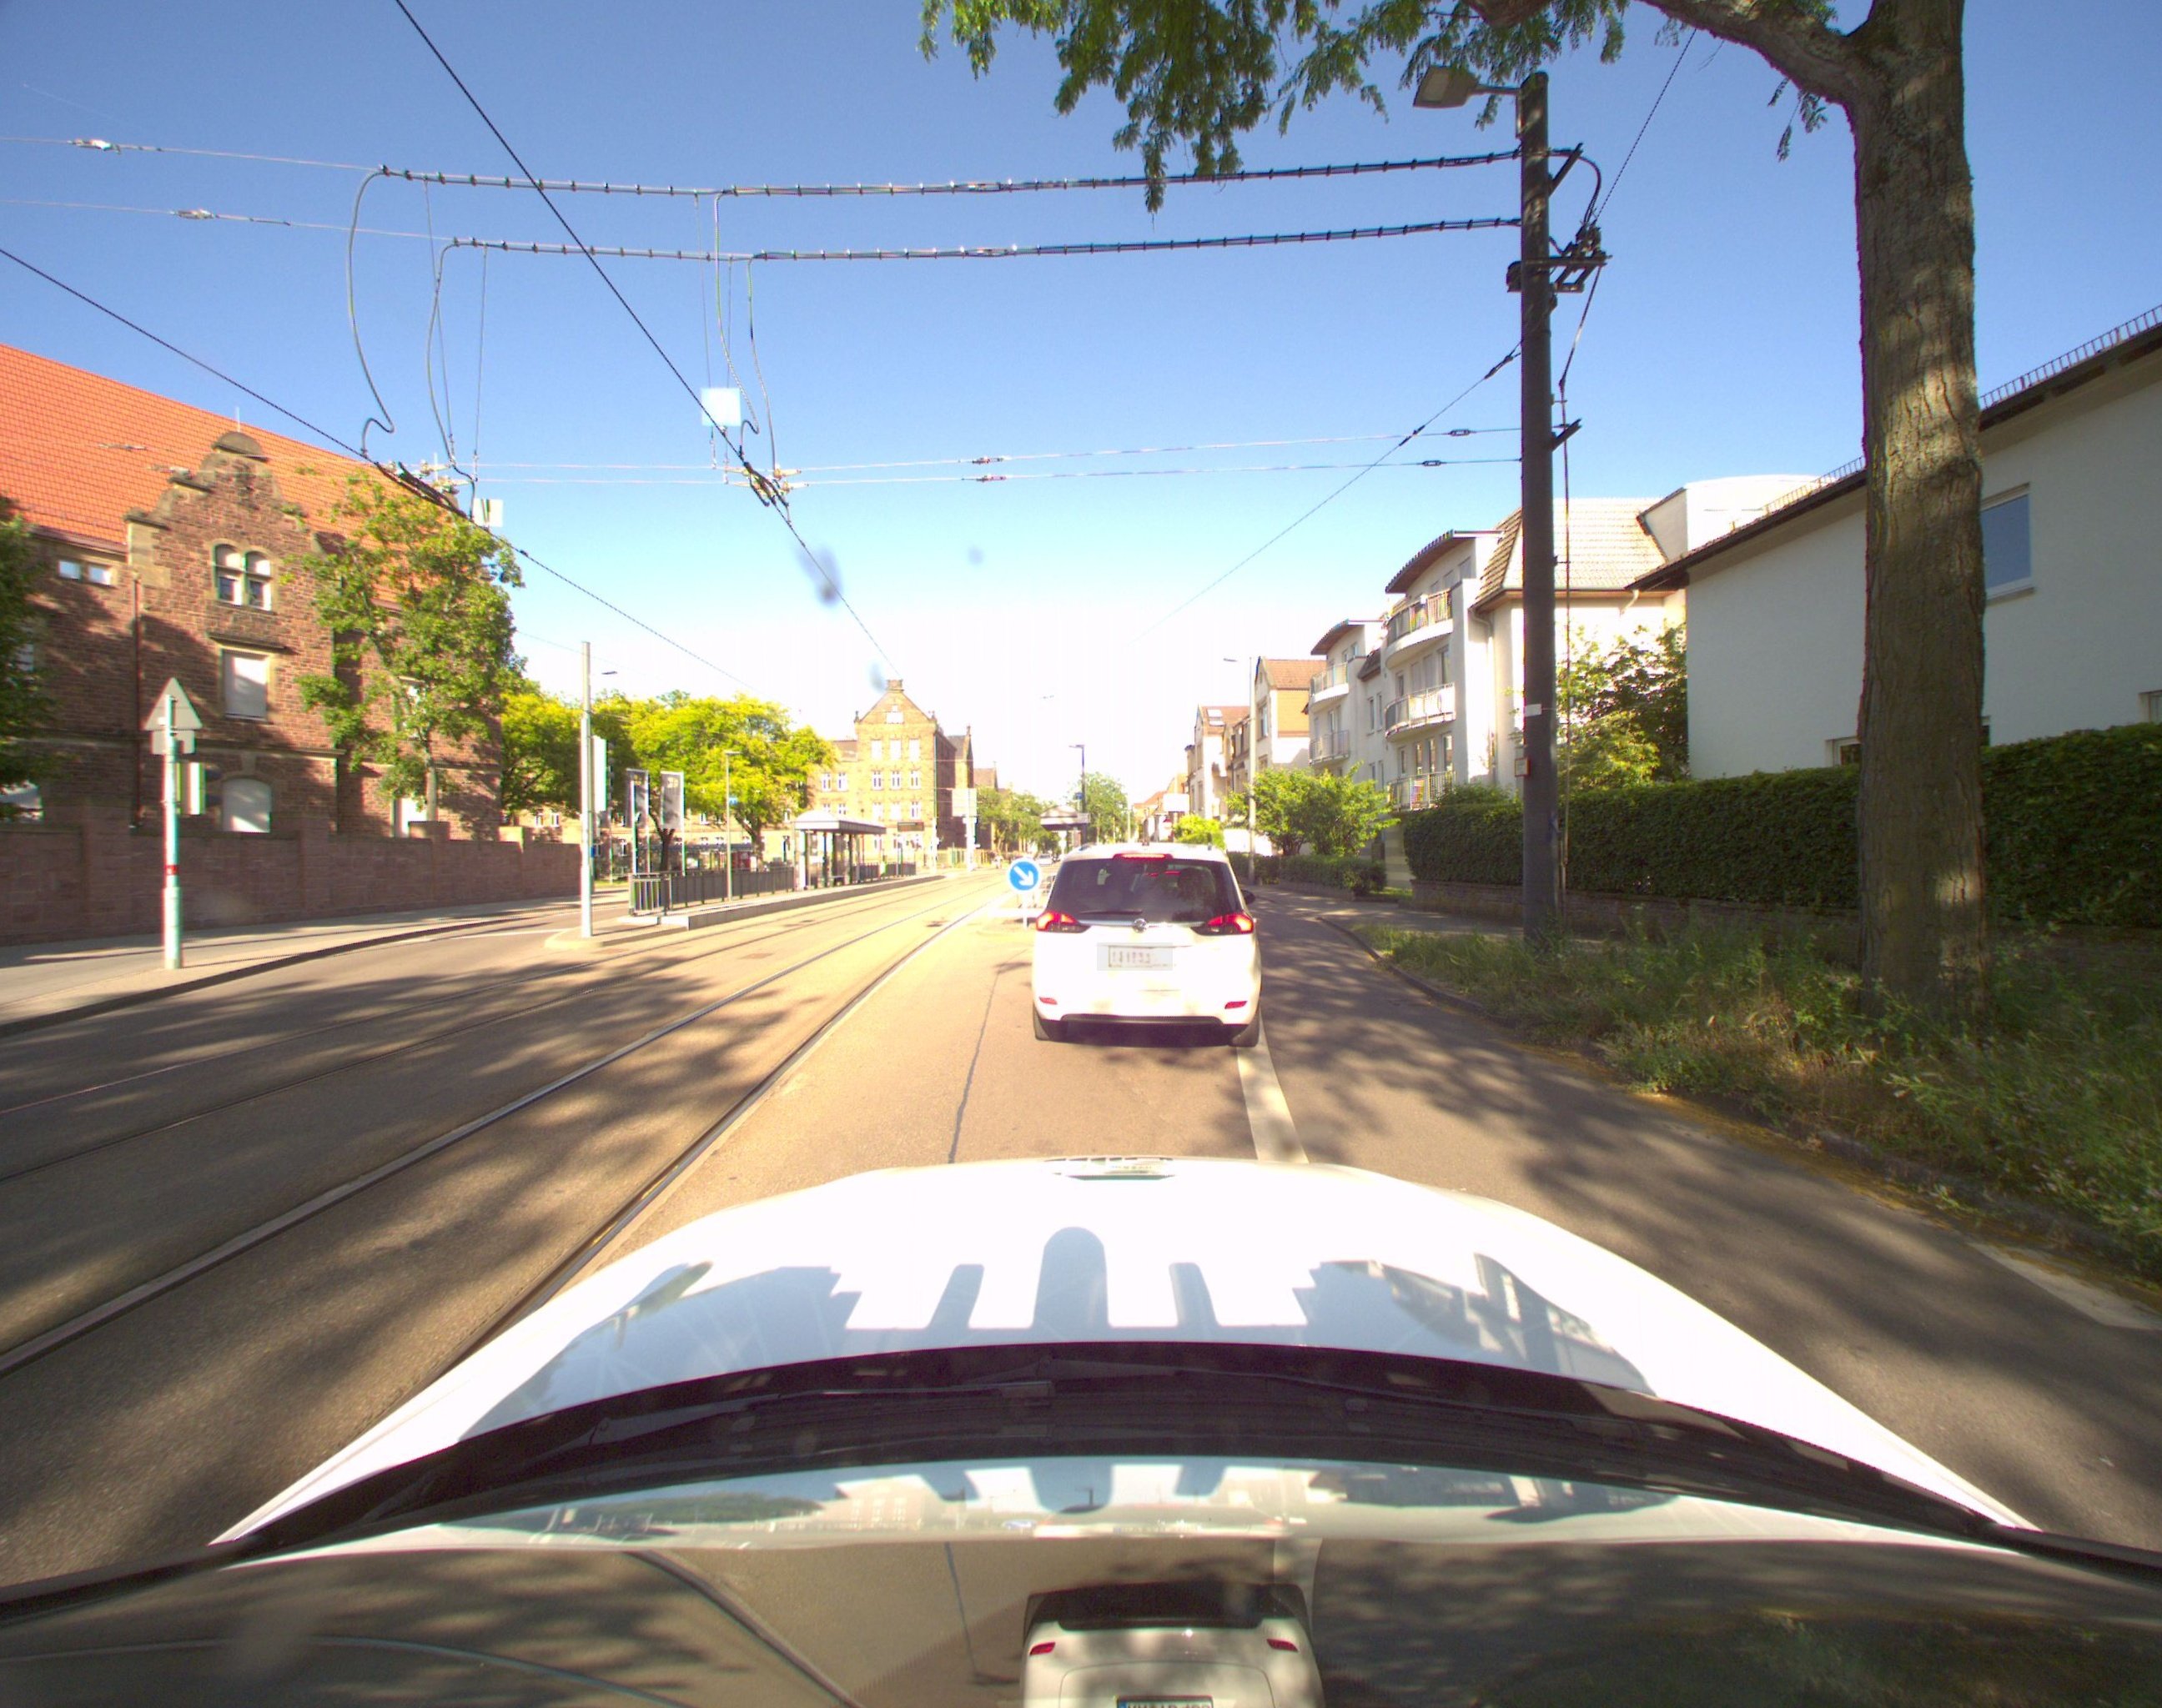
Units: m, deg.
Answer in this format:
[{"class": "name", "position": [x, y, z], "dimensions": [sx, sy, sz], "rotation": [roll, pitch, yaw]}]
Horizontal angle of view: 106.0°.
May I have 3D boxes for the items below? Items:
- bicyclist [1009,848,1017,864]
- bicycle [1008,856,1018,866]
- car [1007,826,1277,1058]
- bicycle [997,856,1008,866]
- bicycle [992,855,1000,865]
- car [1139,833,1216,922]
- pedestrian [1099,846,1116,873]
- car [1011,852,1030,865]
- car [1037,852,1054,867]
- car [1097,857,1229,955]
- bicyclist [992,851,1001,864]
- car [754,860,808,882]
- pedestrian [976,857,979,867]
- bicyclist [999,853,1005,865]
[{"class": "bicyclist", "position": [-8.814, 0.272, 105.969], "dimensions": [0.948, 2.014, 0.822], "rotation": [-1, 0, -4]}, {"class": "bicycle", "position": [-8.833, 0.893, 105.969], "dimensions": [1.145, 1.297, 2.859], "rotation": [-1, 0, -2]}, {"class": "car", "position": [0.695, 0.693, 7.875], "dimensions": [1.882, 1.611, 4.237], "rotation": [-1, -2, 8]}, {"class": "bicycle", "position": [-10.530, 0.908, 109.307], "dimensions": [1.145, 1.297, 2.859], "rotation": [-1, 0, -2]}, {"class": "bicycle", "position": [-10.742, 0.771, 103.130], "dimensions": [0.819, 1.297, 2.676], "rotation": [-1, 0, -2]}, {"class": "car", "position": [2.526, 0.543, 20.646], "dimensions": [1.699, 2.013, 3.917], "rotation": [-2, 0, 9]}, {"class": "pedestrian", "position": [2.013, 0.447, 62.213], "dimensions": [1.154, 2.013, 1.117], "rotation": [-1, 0, -7]}, {"class": "car", "position": [-8.472, 0.583, 114.208], "dimensions": [1.984, 1.722, 4.005], "rotation": [-1, 0, 4]}, {"class": "car", "position": [-4.647, 0.687, 107.634], "dimensions": [1.987, 1.913, 4.000], "rotation": [-1, -1, 1]}, {"class": "car", "position": [1.580, 0.814, 14.521], "dimensions": [1.982, 1.442, 4.010], "rotation": [-2, 0, 9]}, {"class": "bicyclist", "position": [-10.739, 0.445, 103.420], "dimensions": [0.941, 1.734, 0.861], "rotation": [-1, 0, -1]}, {"class": "car", "position": [-26.137, 1.478, 71.037], "dimensions": [3.980, 1.789, 1.997], "rotation": [-1, 0, -5]}, {"class": "pedestrian", "position": [-14.555, 1.112, 114.425], "dimensions": [0.360, 1.438, 0.549], "rotation": [-1, 0, 2]}, {"class": "bicyclist", "position": [-10.615, 0.640, 109.580], "dimensions": [0.700, 1.607, 0.657], "rotation": [-1, 0, -1]}]
